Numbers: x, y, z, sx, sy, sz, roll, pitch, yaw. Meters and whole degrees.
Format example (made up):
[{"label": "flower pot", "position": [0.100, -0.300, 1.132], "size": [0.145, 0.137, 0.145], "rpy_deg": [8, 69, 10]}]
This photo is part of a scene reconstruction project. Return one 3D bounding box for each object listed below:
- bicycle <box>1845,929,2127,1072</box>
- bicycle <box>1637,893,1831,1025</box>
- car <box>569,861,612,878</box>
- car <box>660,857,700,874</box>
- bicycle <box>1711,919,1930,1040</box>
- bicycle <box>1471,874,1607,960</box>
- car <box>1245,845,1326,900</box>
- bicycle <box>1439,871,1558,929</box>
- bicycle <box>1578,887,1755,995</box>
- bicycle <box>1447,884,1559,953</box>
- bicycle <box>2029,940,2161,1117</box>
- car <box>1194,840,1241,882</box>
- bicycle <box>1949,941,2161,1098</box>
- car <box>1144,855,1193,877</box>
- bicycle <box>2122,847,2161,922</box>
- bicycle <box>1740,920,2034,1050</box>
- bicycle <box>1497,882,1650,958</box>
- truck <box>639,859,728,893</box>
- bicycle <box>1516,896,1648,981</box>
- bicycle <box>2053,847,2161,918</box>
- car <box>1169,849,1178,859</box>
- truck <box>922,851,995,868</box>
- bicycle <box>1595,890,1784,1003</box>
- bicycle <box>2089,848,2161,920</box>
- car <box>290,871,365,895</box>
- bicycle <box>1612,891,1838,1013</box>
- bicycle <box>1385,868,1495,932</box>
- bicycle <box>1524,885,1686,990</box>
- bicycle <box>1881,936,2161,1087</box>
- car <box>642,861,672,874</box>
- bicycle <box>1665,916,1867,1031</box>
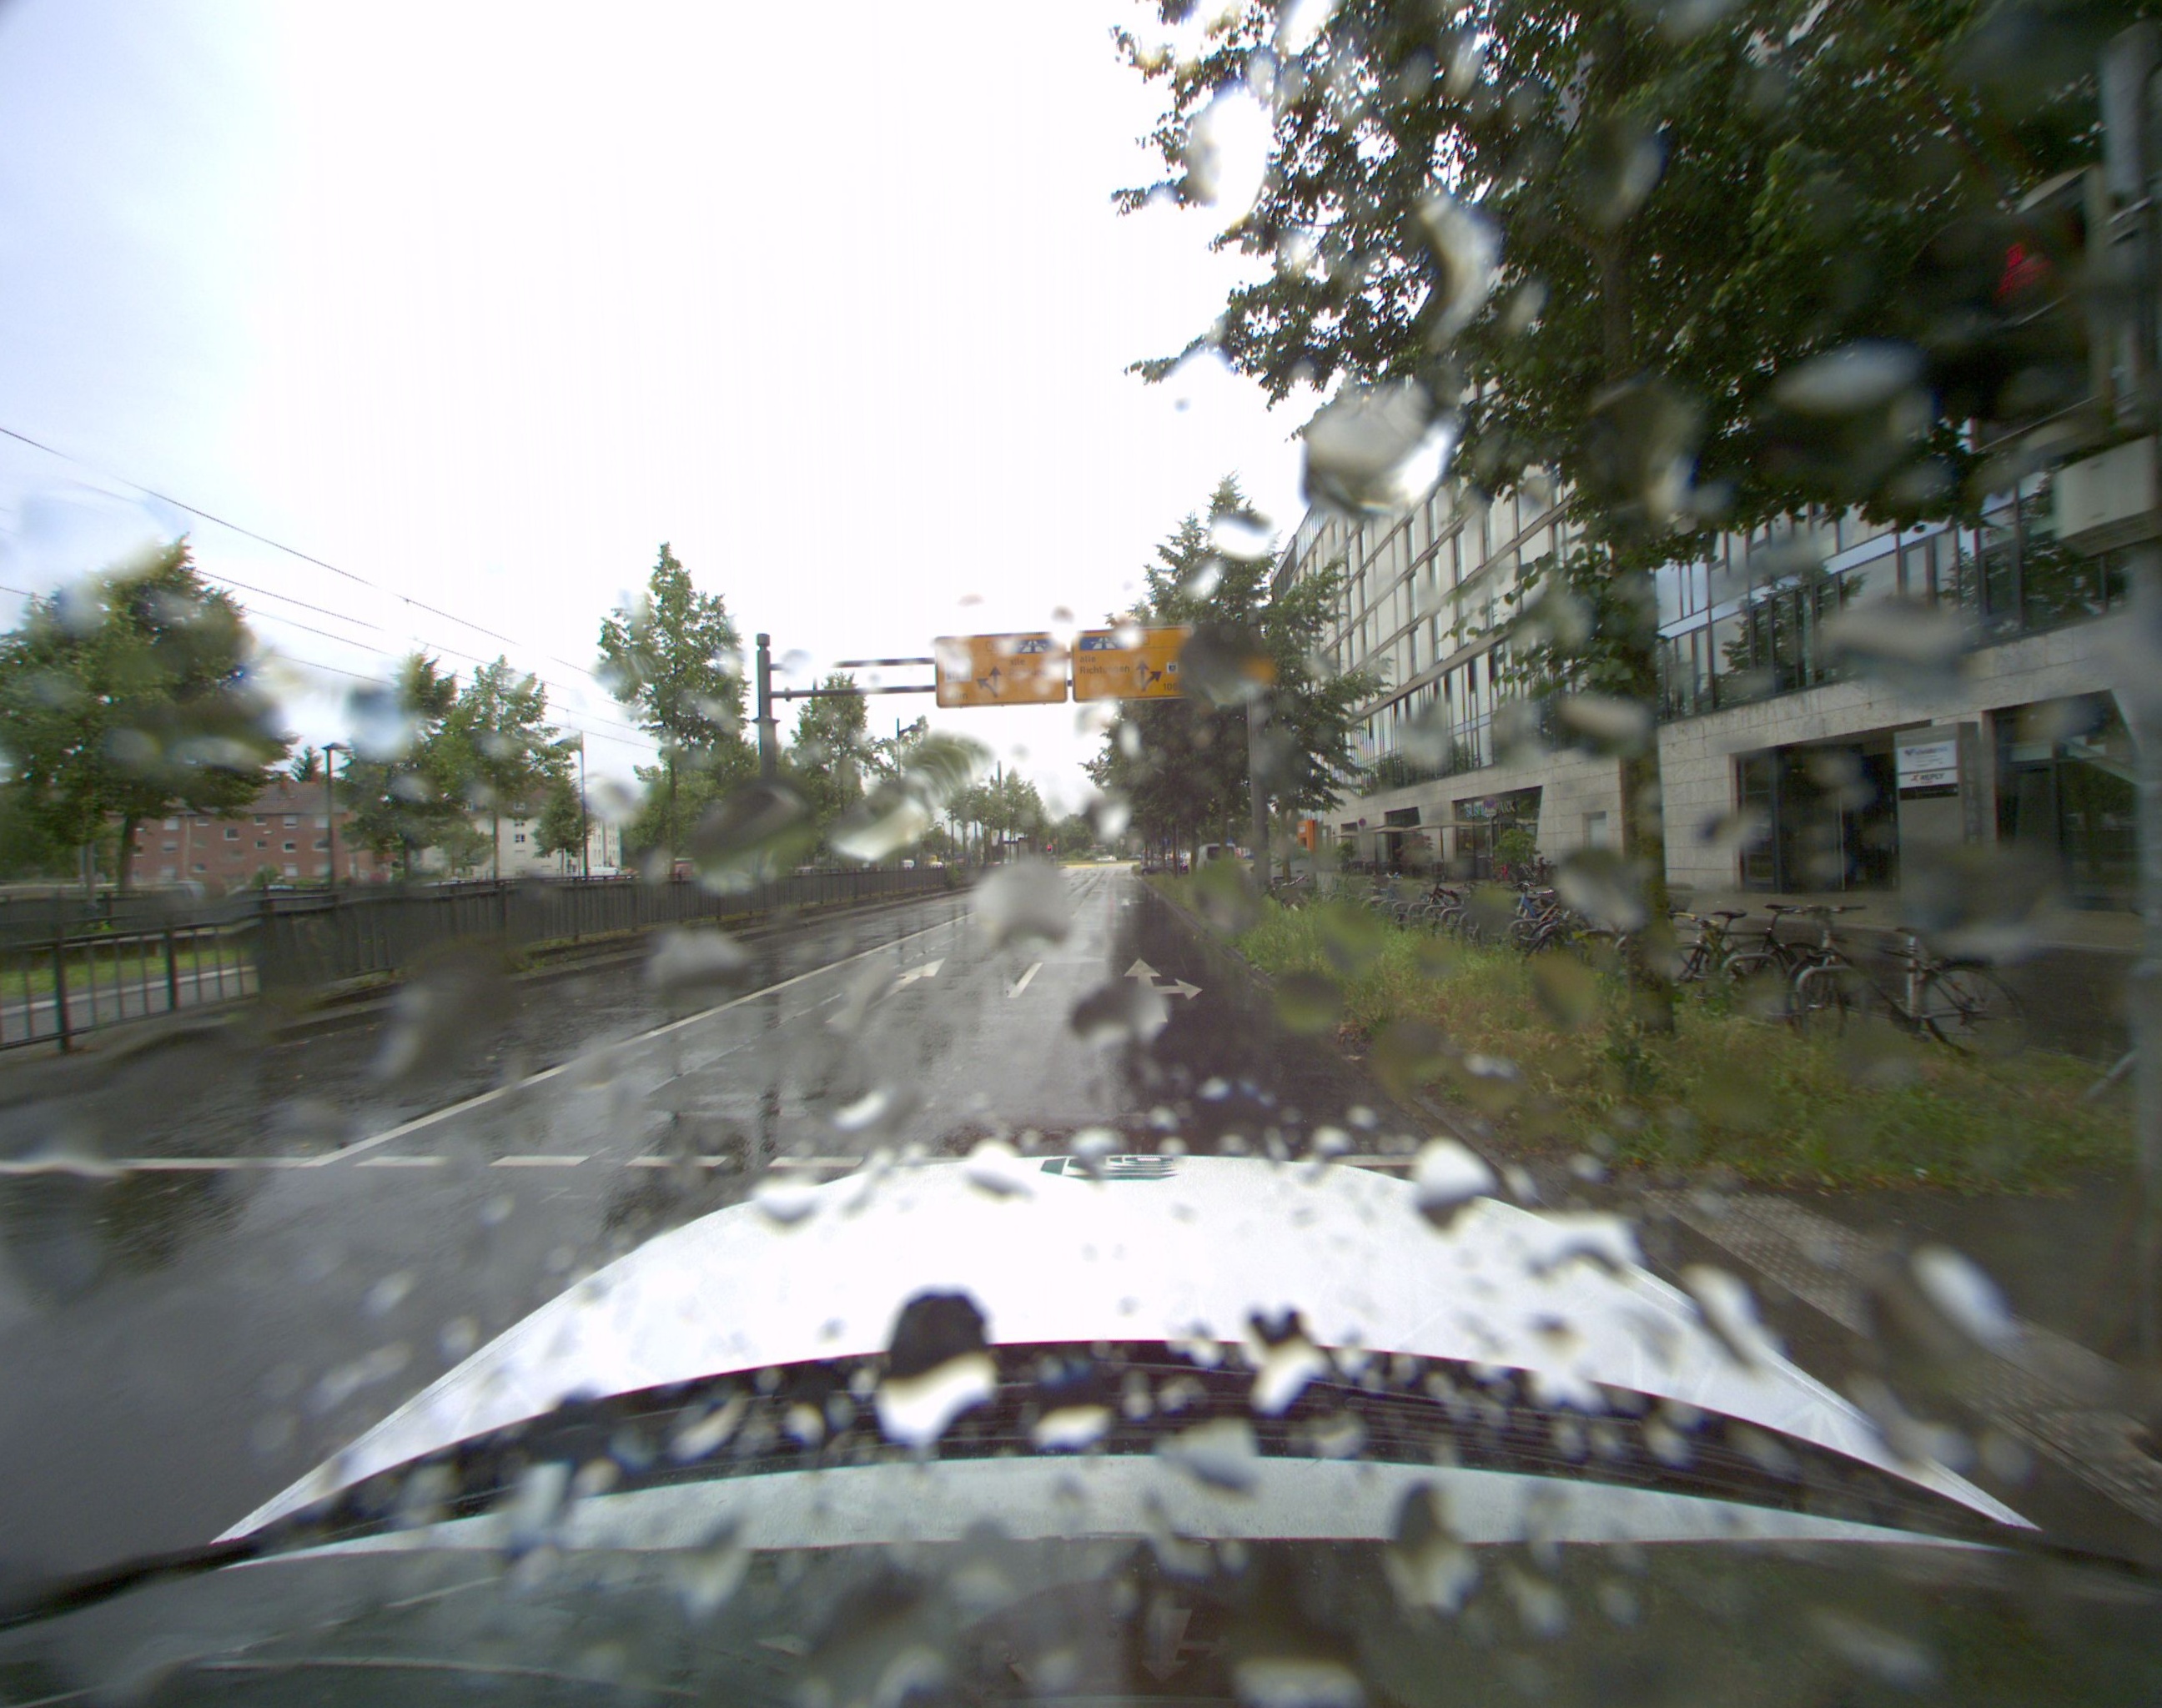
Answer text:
[{"label": "bicycle", "position": [5.838, 0.937, 5.299], "size": [1.279, 0.849, 0.276], "rpy_deg": [-2, -1, 13]}, {"label": "bicycle", "position": [5.523, 0.888, 6.925], "size": [1.280, 1.074, 0.276], "rpy_deg": [-2, -1, 10]}, {"label": "car", "position": [-61.044, 1.921, 101.388], "size": [1.978, 2.014, 4.234], "rpy_deg": [-1, -1, 17]}, {"label": "car", "position": [-47.851, 1.329, 97.213], "size": [1.978, 2.014, 4.018], "rpy_deg": [-1, -1, 17]}, {"label": "bicycle", "position": [5.571, 0.944, 6.167], "size": [1.281, 0.849, 0.276], "rpy_deg": [-2, -1, 6]}, {"label": "bicycle", "position": [6.027, 0.819, 10.735], "size": [1.607, 1.053, 0.297], "rpy_deg": [-2, -1, -1]}, {"label": "car", "position": [7.297, 0.614, 29.519], "size": [1.898, 1.791, 4.691], "rpy_deg": [-2, 0, 2]}, {"label": "bicycle", "position": [6.205, 0.682, 12.133], "size": [1.609, 0.849, 0.275], "rpy_deg": [0, -1, 1]}, {"label": "bicycle", "position": [5.821, 0.867, 8.133], "size": [1.431, 1.017, 0.349], "rpy_deg": [-2, 0, 6]}, {"label": "bicycle", "position": [5.893, 0.899, 11.395], "size": [1.405, 0.897, 0.275], "rpy_deg": [-2, -1, -1]}, {"label": "bicycle", "position": [5.926, 0.905, 4.276], "size": [1.279, 0.874, 0.302], "rpy_deg": [-2, -1, 13]}, {"label": "car", "position": [8.006, 0.389, 48.117], "size": [2.113, 2.274, 4.567], "rpy_deg": [-2, 0, 2]}, {"label": "bicycle", "position": [5.877, 0.934, 4.663], "size": [1.279, 0.832, 0.276], "rpy_deg": [-2, -1, 13]}, {"label": "car", "position": [6.961, 0.940, 65.066], "size": [1.827, 1.545, 3.962], "rpy_deg": [-3, 2, -30]}, {"label": "bicycle", "position": [15.865, 0.405, 11.457], "size": [1.742, 1.028, 0.413], "rpy_deg": [-2, -1, 4]}, {"label": "bicycle", "position": [5.704, 0.933, 5.805], "size": [1.663, 0.849, 0.276], "rpy_deg": [-2, -1, 6]}, {"label": "bicycle", "position": [6.056, 0.805, 10.029], "size": [1.701, 0.849, 0.313], "rpy_deg": [-2, 0, -2]}, {"label": "truck", "position": [-62.995, 3.409, 129.534], "size": [12.512, 4.592, 3.375], "rpy_deg": [-3, 2, -25]}, {"label": "bicycle", "position": [5.480, 0.920, 8.927], "size": [1.286, 0.849, 0.275], "rpy_deg": [-2, -1, -4]}, {"label": "bicycle", "position": [15.934, 0.417, 12.366], "size": [1.686, 1.028, 0.423], "rpy_deg": [-2, -1, 4]}, {"label": "car", "position": [16.285, -0.019, 143.306], "size": [1.615, 1.699, 3.462], "rpy_deg": [-2, 2, 6]}, {"label": "truck", "position": [-24.991, 1.129, 167.497], "size": [14.978, 3.147, 3.483], "rpy_deg": [-1, -1, -38]}, {"label": "bicycle", "position": [5.758, 0.873, 7.751], "size": [1.430, 1.017, 0.349], "rpy_deg": [-2, 0, 8]}, {"label": "bicycle", "position": [15.909, 0.421, 11.896], "size": [1.686, 1.028, 0.423], "rpy_deg": [-2, -1, 4]}, {"label": "car", "position": [-76.905, 2.957, 83.233], "size": [2.073, 2.013, 5.387], "rpy_deg": [-2, 2, 10]}, {"label": "bicycle", "position": [5.724, 0.873, 7.294], "size": [1.565, 1.017, 0.409], "rpy_deg": [-2, -1, 8]}, {"label": "bicycle", "position": [5.925, 0.753, 13.458], "size": [1.637, 0.988, 0.321], "rpy_deg": [-2, -1, 1]}, {"label": "bicycle", "position": [5.505, 0.865, 8.579], "size": [1.447, 1.017, 0.349], "rpy_deg": [-2, -1, 0]}, {"label": "bicycle", "position": [5.786, 0.949, 4.991], "size": [1.279, 0.849, 0.276], "rpy_deg": [-2, -1, 13]}, {"label": "car", "position": [-60.104, 1.914, 115.588], "size": [3.545, 1.738, 1.694], "rpy_deg": [-3, 2, -22]}, {"label": "bicycle", "position": [5.438, 0.949, 6.498], "size": [1.281, 0.858, 0.276], "rpy_deg": [-2, 0, 6]}]
